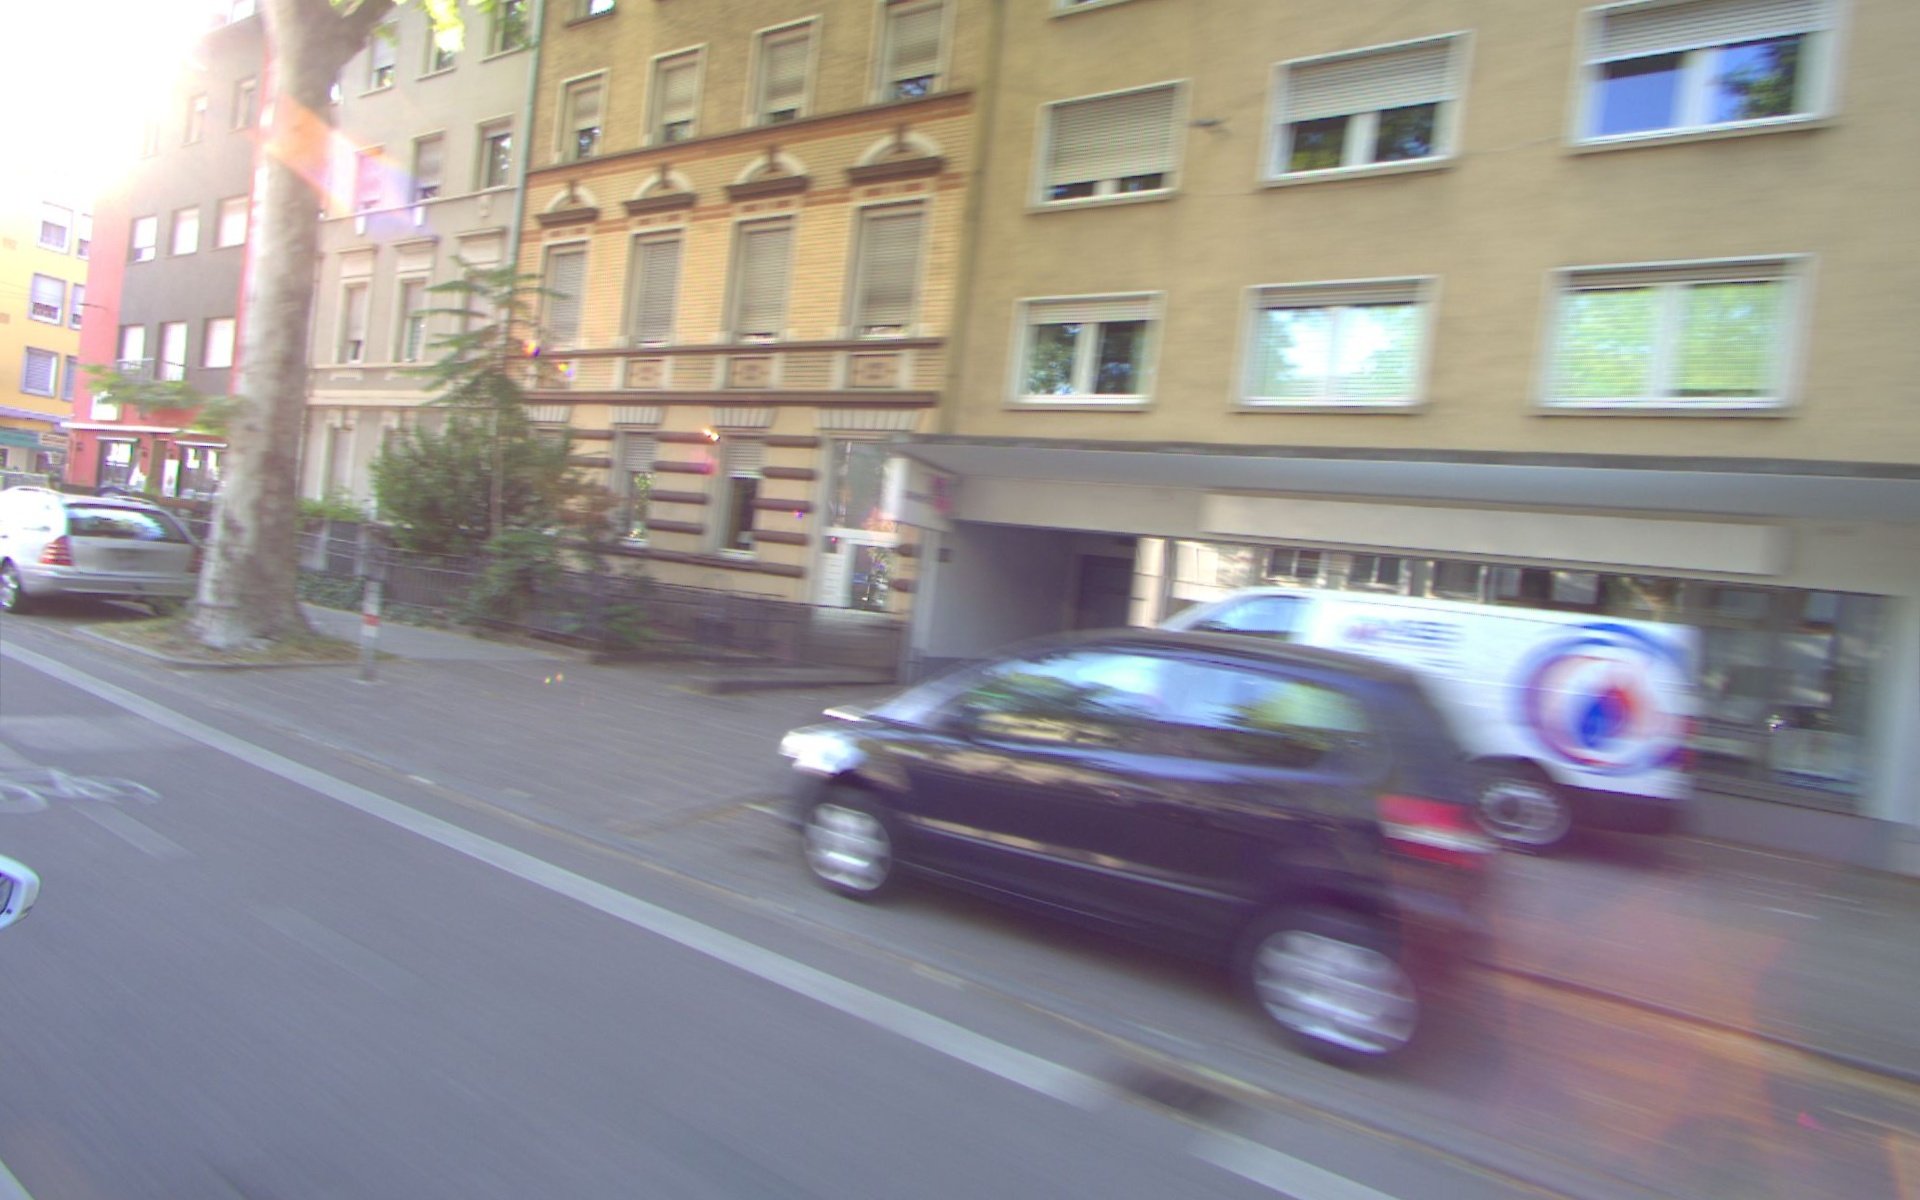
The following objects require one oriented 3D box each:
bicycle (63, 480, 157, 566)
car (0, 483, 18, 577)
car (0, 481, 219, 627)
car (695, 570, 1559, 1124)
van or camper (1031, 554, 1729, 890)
[{"bbox_3d":[-16.653,-1.521,19.679,2.357,1.443,0.608,7,-1,33],"label":"bicycle"},{"bbox_3d":[-16.838,-1.343,15.977,4.251,1.414,1.711,7,1,33],"label":"car"},{"bbox_3d":[-11.567,-0.692,12.847,4.493,1.470,1.676,7,1,30],"label":"car"},{"bbox_3d":[0.716,0.875,5.209,3.933,1.565,1.655,7,1,31],"label":"car"},{"bbox_3d":[3.552,0.862,9.336,5.301,1.947,1.943,7,1,31],"label":"van or camper"}]
